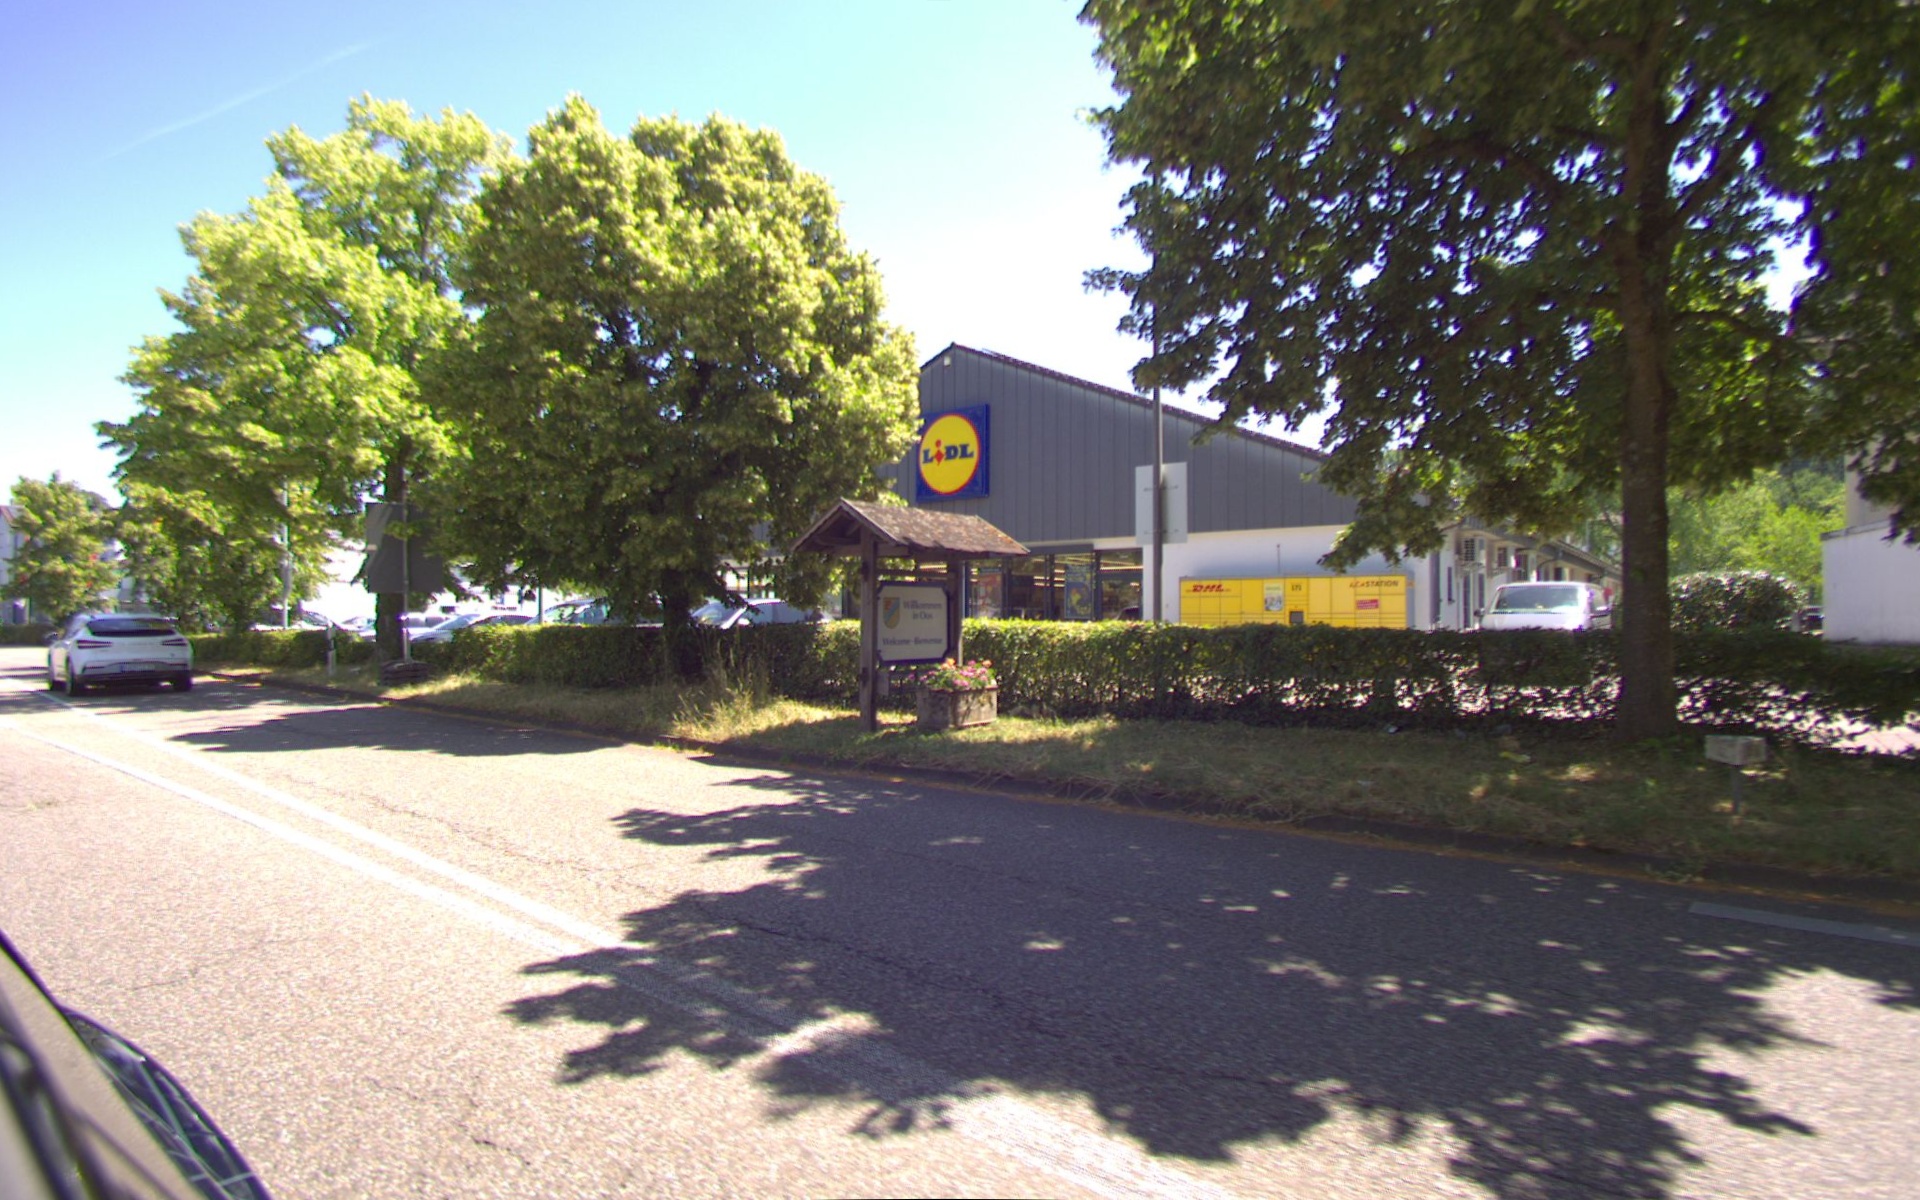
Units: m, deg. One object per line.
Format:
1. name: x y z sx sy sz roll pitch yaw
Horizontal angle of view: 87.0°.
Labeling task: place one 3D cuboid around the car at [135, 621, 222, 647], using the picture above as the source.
1. car: -47.556 2.054 61.612 4.131 1.457 1.983 0 -1 -39

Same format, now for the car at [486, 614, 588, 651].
1. car: -21.116 1.589 50.674 2.109 1.667 4.275 0 0 35

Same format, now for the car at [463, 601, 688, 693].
1. car: -8.655 0.980 23.102 2.069 1.789 4.360 -1 0 37

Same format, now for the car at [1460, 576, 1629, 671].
1. car: 11.757 0.382 20.171 2.236 1.582 4.939 -1 1 38

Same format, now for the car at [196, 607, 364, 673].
1. car: -22.662 1.275 33.878 1.901 1.995 4.317 0 0 36

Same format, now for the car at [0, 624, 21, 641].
1. car: -82.093 2.749 85.029 1.920 1.450 4.338 -1 -1 12

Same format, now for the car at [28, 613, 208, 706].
1. car: -17.092 1.113 20.472 4.472 1.600 2.073 -1 1 41

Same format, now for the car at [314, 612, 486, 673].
1. car: -16.437 1.189 29.858 1.931 1.536 3.991 -1 0 37

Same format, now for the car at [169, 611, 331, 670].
1. car: -24.839 1.360 35.495 2.104 1.859 4.336 0 0 44

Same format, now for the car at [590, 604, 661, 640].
1. car: -25.656 1.676 77.609 5.891 2.647 2.260 -1 0 38

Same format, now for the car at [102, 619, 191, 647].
1. car: -53.501 2.143 66.667 4.471 1.676 2.004 0 -1 -37

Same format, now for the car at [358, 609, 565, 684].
1. car: -12.642 1.110 25.891 1.892 1.632 4.360 -1 0 37

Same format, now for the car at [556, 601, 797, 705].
1. car: -5.641 0.971 20.629 2.069 1.789 4.360 -1 0 37
